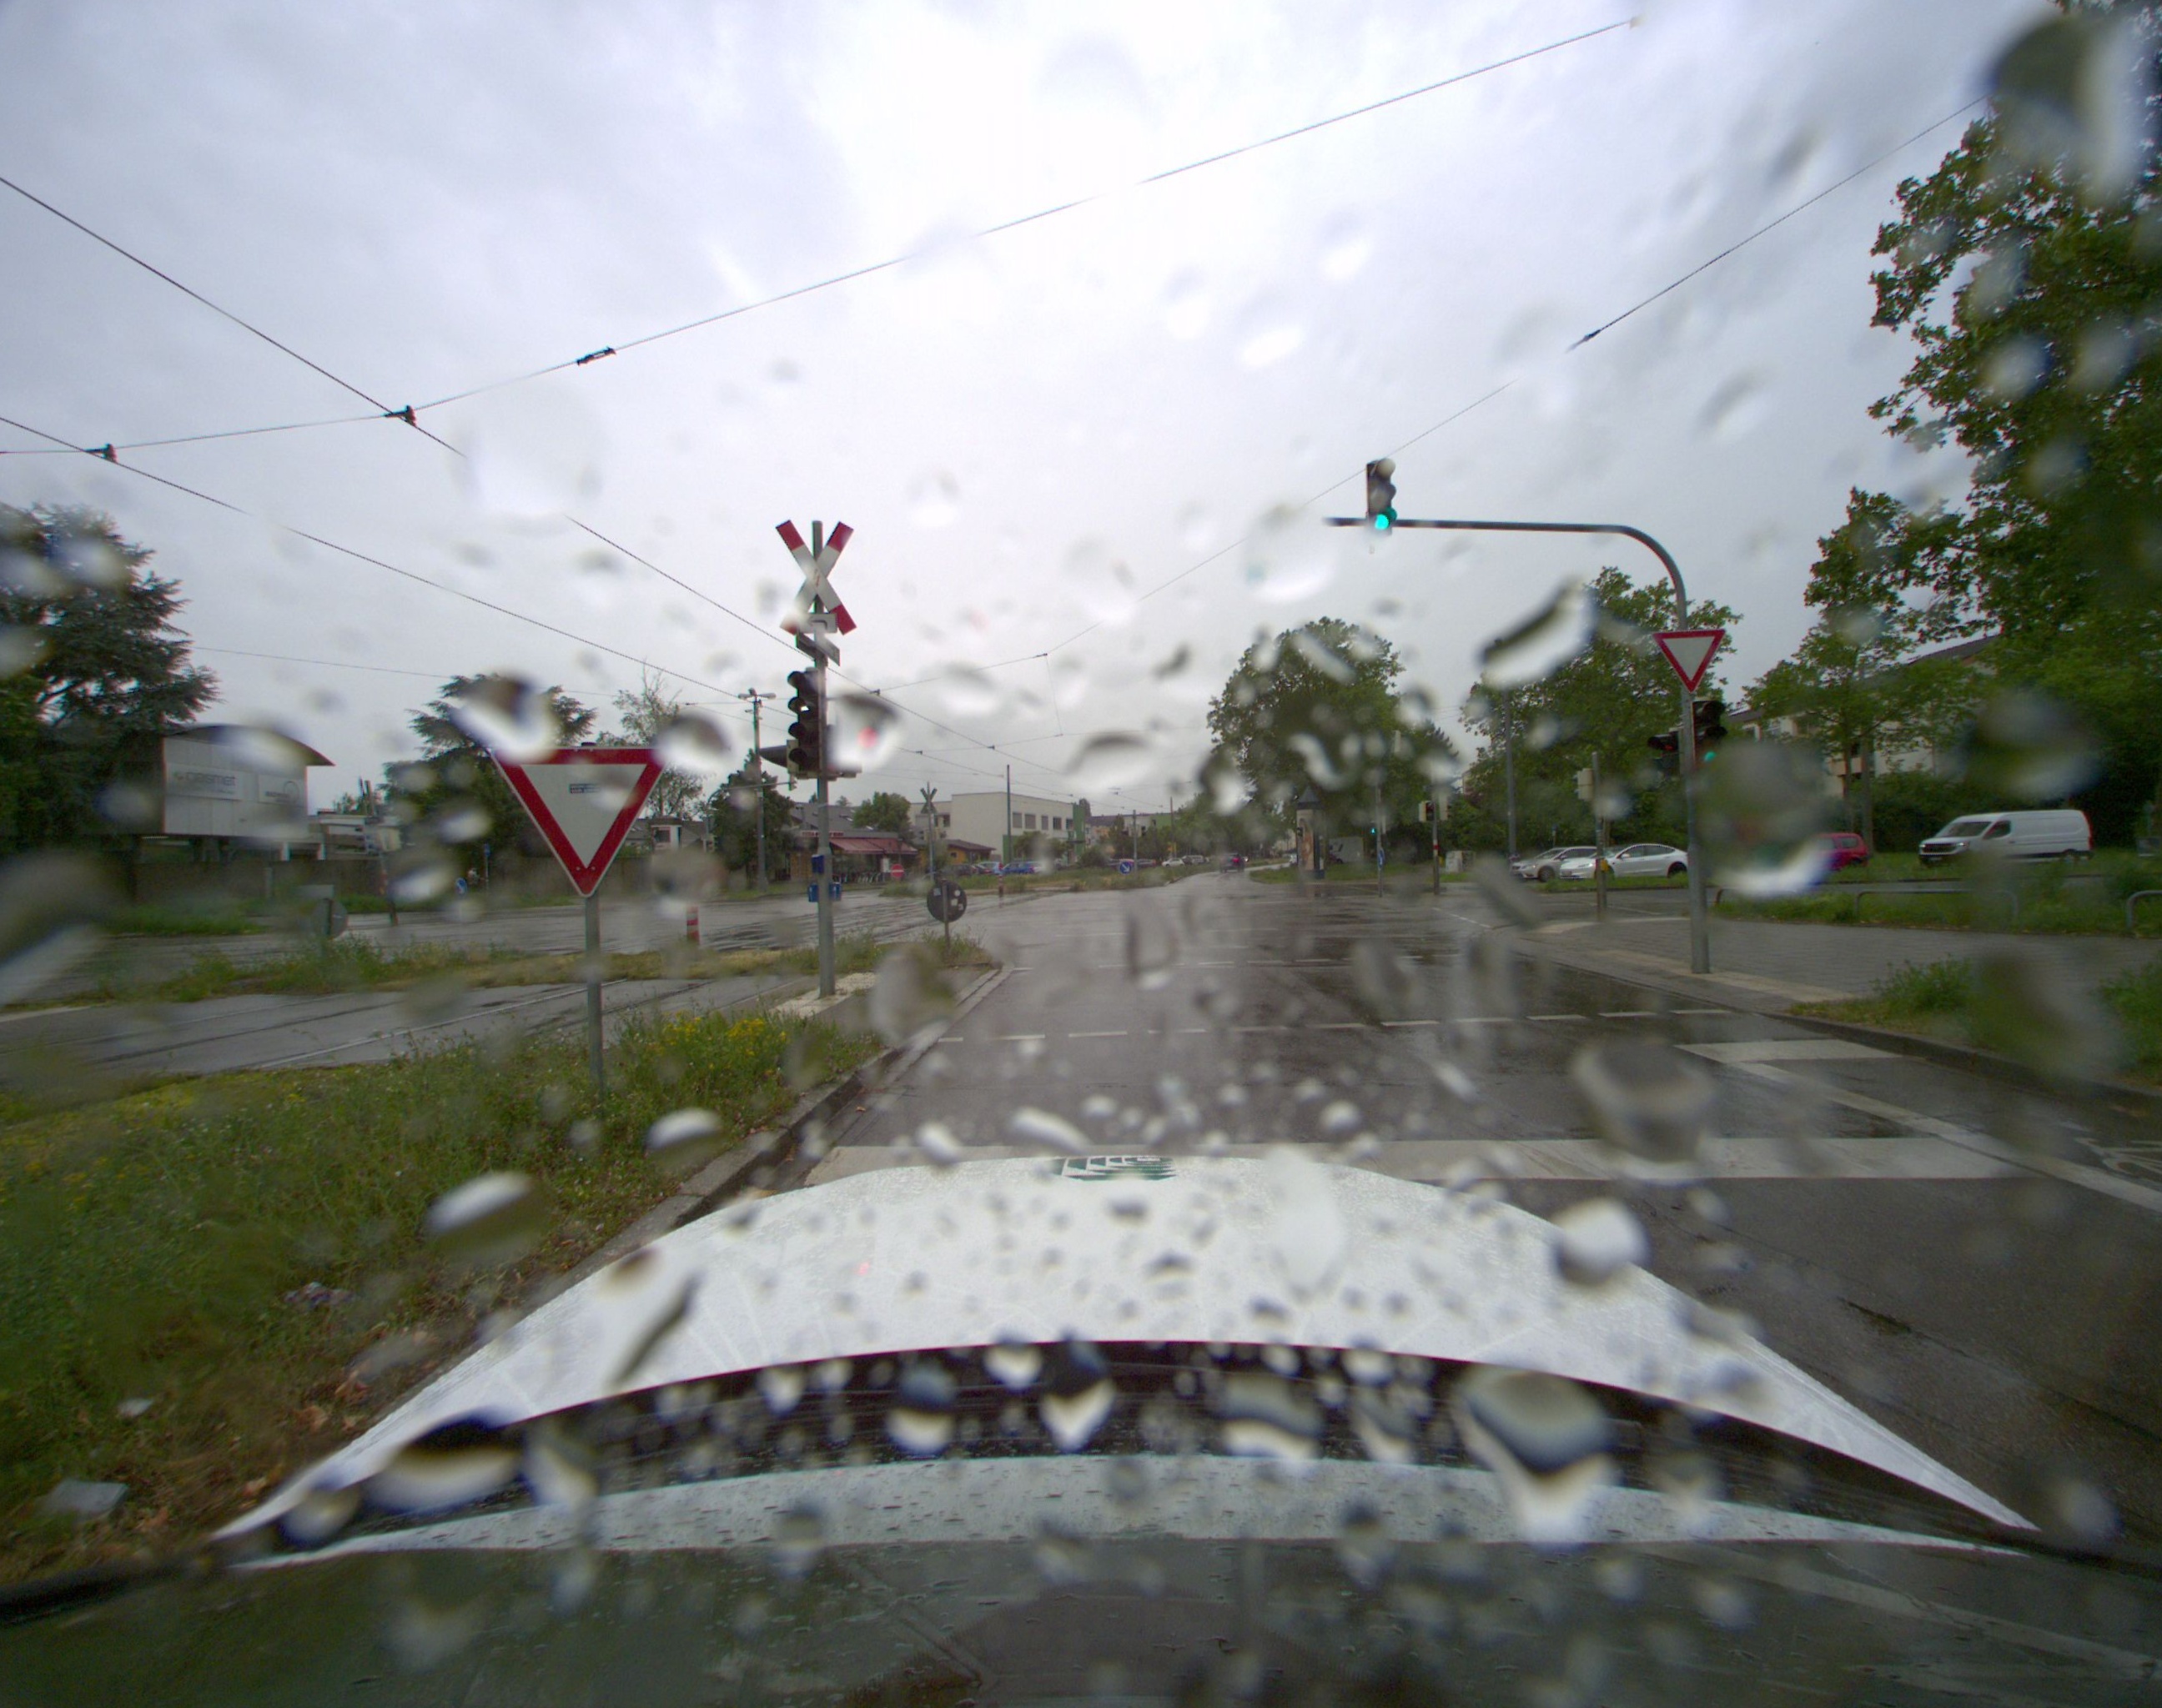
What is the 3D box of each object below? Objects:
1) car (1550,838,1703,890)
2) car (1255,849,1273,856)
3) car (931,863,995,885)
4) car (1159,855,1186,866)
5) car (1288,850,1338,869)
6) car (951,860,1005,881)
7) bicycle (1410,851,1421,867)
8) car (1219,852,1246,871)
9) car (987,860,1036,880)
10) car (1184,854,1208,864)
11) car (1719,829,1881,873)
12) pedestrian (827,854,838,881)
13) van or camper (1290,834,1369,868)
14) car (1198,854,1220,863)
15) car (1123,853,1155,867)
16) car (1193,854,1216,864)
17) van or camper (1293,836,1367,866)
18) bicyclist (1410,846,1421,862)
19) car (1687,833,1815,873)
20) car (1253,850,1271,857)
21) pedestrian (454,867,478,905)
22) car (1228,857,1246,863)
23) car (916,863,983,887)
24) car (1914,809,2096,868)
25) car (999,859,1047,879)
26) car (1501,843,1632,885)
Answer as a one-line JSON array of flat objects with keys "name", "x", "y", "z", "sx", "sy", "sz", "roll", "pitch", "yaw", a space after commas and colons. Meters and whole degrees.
[{"name": "car", "x": 20.475, "y": 0.366, "z": 30.674, "sx": 4.585, "sy": 1.828, "sz": 1.931, "roll": 0, "pitch": -1, "yaw": -5}, {"name": "car", "x": 45.493, "y": -0.328, "z": 202.607, "sx": 3.977, "sy": 1.832, "sz": 1.998, "roll": 0, "pitch": -1, "yaw": -3}, {"name": "car", "x": -8.915, "y": 1.534, "z": 61.759, "sx": 4.478, "sy": 1.418, "sz": 1.860, "roll": -3, "pitch": -1, "yaw": 3}, {"name": "car", "x": 14.224, "y": 0.961, "z": 126.551, "sx": 3.772, "sy": 1.702, "sz": 1.832, "roll": 0, "pitch": -1, "yaw": -8}, {"name": "car", "x": 22.006, "y": 0.509, "z": 77.225, "sx": 4.405, "sy": 1.717, "sz": 2.011, "roll": -1, "pitch": -1, "yaw": 23}, {"name": "car", "x": -8.196, "y": 1.321, "z": 64.987, "sx": 3.966, "sy": 1.582, "sz": 1.862, "roll": -2, "pitch": -1, "yaw": 6}, {"name": "bicycle", "x": 29.223, "y": 0.434, "z": 71.078, "sx": 0.853, "sy": 1.425, "sz": 2.718, "roll": -1, "pitch": -1, "yaw": 24}, {"name": "car", "x": 13.498, "y": 0.653, "z": 72.304, "sx": 1.791, "sy": 1.686, "sz": 3.930, "roll": -1, "pitch": -1, "yaw": 19}, {"name": "car", "x": -6.008, "y": 1.364, "z": 70.075, "sx": 3.986, "sy": 1.582, "sz": 1.924, "roll": -2, "pitch": -1, "yaw": -9}, {"name": "car", "x": 20.413, "y": 0.862, "z": 144.612, "sx": 3.986, "sy": 1.759, "sz": 2.004, "roll": 0, "pitch": -1, "yaw": -10}, {"name": "car", "x": 26.984, "y": -0.102, "z": 30.655, "sx": 4.589, "sy": 1.607, "sz": 1.790, "roll": 0, "pitch": -1, "yaw": -1}, {"name": "pedestrian", "x": -18.677, "y": 1.035, "z": 61.252, "sx": 0.726, "sy": 2.014, "sz": 0.789, "roll": 0, "pitch": -1, "yaw": -21}, {"name": "van or camper", "x": 24.454, "y": -0.227, "z": 80.102, "sx": 7.261, "sy": 3.178, "sz": 3.278, "roll": -1, "pitch": -1, "yaw": 20}, {"name": "car", "x": 24.971, "y": 0.906, "z": 158.545, "sx": 3.977, "sy": 1.832, "sz": 1.998, "roll": 0, "pitch": -1, "yaw": -3}, {"name": "car", "x": 7.854, "y": 0.852, "z": 110.186, "sx": 3.980, "sy": 1.887, "sz": 1.997, "roll": 0, "pitch": -1, "yaw": -5}, {"name": "car", "x": 23.234, "y": 0.877, "z": 153.514, "sx": 3.986, "sy": 1.832, "sz": 1.994, "roll": 0, "pitch": -1, "yaw": -10}, {"name": "van or camper", "x": 27.268, "y": -0.319, "z": 89.241, "sx": 7.359, "sy": 3.178, "sz": 3.281, "roll": -1, "pitch": -1, "yaw": 24}, {"name": "bicyclist", "x": 29.321, "y": -0.014, "z": 71.318, "sx": 0.853, "sy": 1.425, "sz": 0.962, "roll": -1, "pitch": -1, "yaw": 23}, {"name": "car", "x": 28.193, "y": -0.039, "z": 34.340, "sx": 4.048, "sy": 1.607, "sz": 1.788, "roll": 0, "pitch": -1, "yaw": -5}, {"name": "car", "x": 44.046, "y": -0.122, "z": 197.902, "sx": 3.977, "sy": 1.832, "sz": 1.998, "roll": 0, "pitch": -1, "yaw": -3}, {"name": "pedestrian", "x": -30.183, "y": 1.569, "z": 39.961, "sx": 0.890, "sy": 1.797, "sz": 0.719, "roll": 0, "pitch": 0, "yaw": -33}, {"name": "car", "x": 34.259, "y": 1.263, "z": 178.753, "sx": 3.868, "sy": 1.354, "sz": 1.764, "roll": 0, "pitch": -1, "yaw": 4}, {"name": "car", "x": -9.559, "y": 1.515, "z": 59.365, "sx": 4.459, "sy": 1.418, "sz": 1.860, "roll": -3, "pitch": -1, "yaw": 3}, {"name": "car", "x": 39.176, "y": -0.651, "z": 34.634, "sx": 5.589, "sy": 2.392, "sz": 1.999, "roll": 0, "pitch": -1, "yaw": -2}, {"name": "car", "x": -5.225, "y": 1.361, "z": 73.197, "sx": 4.112, "sy": 1.641, "sz": 1.922, "roll": -1, "pitch": -1, "yaw": -12}, {"name": "car", "x": 20.211, "y": 0.416, "z": 34.007, "sx": 4.385, "sy": 1.691, "sz": 1.931, "roll": 0, "pitch": -1, "yaw": -5}]
